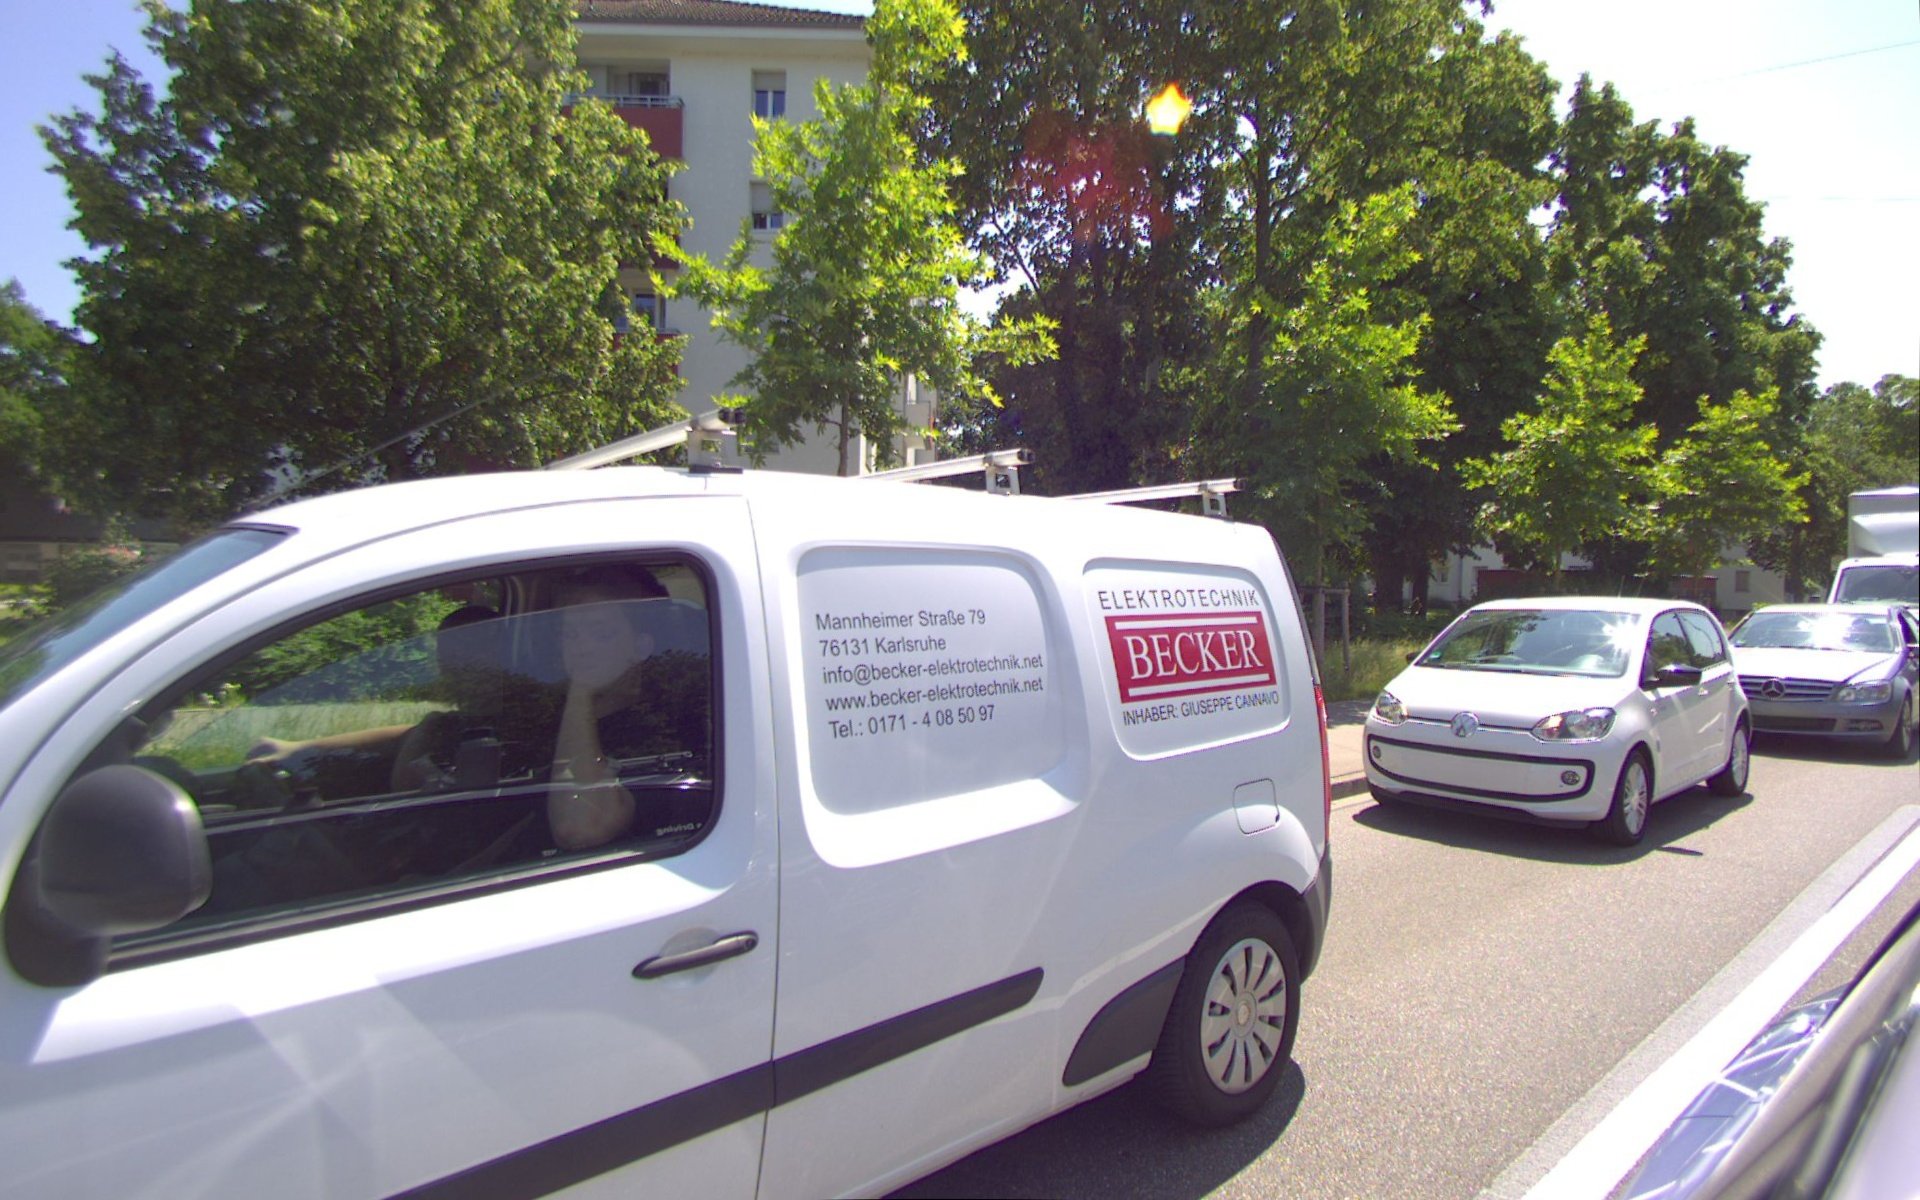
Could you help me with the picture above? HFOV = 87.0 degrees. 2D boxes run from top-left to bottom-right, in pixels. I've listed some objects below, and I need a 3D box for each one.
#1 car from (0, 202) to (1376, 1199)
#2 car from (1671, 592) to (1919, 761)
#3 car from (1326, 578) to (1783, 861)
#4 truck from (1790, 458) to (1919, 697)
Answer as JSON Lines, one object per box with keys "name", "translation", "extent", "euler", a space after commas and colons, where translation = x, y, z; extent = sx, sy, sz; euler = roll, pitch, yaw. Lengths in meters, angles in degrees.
{"name": "car", "translation": [-0.991, 0.455, 2.531], "extent": [4.370, 1.849, 1.997], "euler": [0, 1, -41]}
{"name": "car", "translation": [9.235, 0.654, 10.735], "extent": [4.016, 1.426, 1.839], "euler": [0, 1, -41]}
{"name": "car", "translation": [4.402, 0.621, 7.285], "extent": [3.705, 1.497, 1.729], "euler": [0, 1, -41]}
{"name": "truck", "translation": [16.519, -0.338, 16.969], "extent": [7.778, 3.387, 2.434], "euler": [0, 1, -39]}
